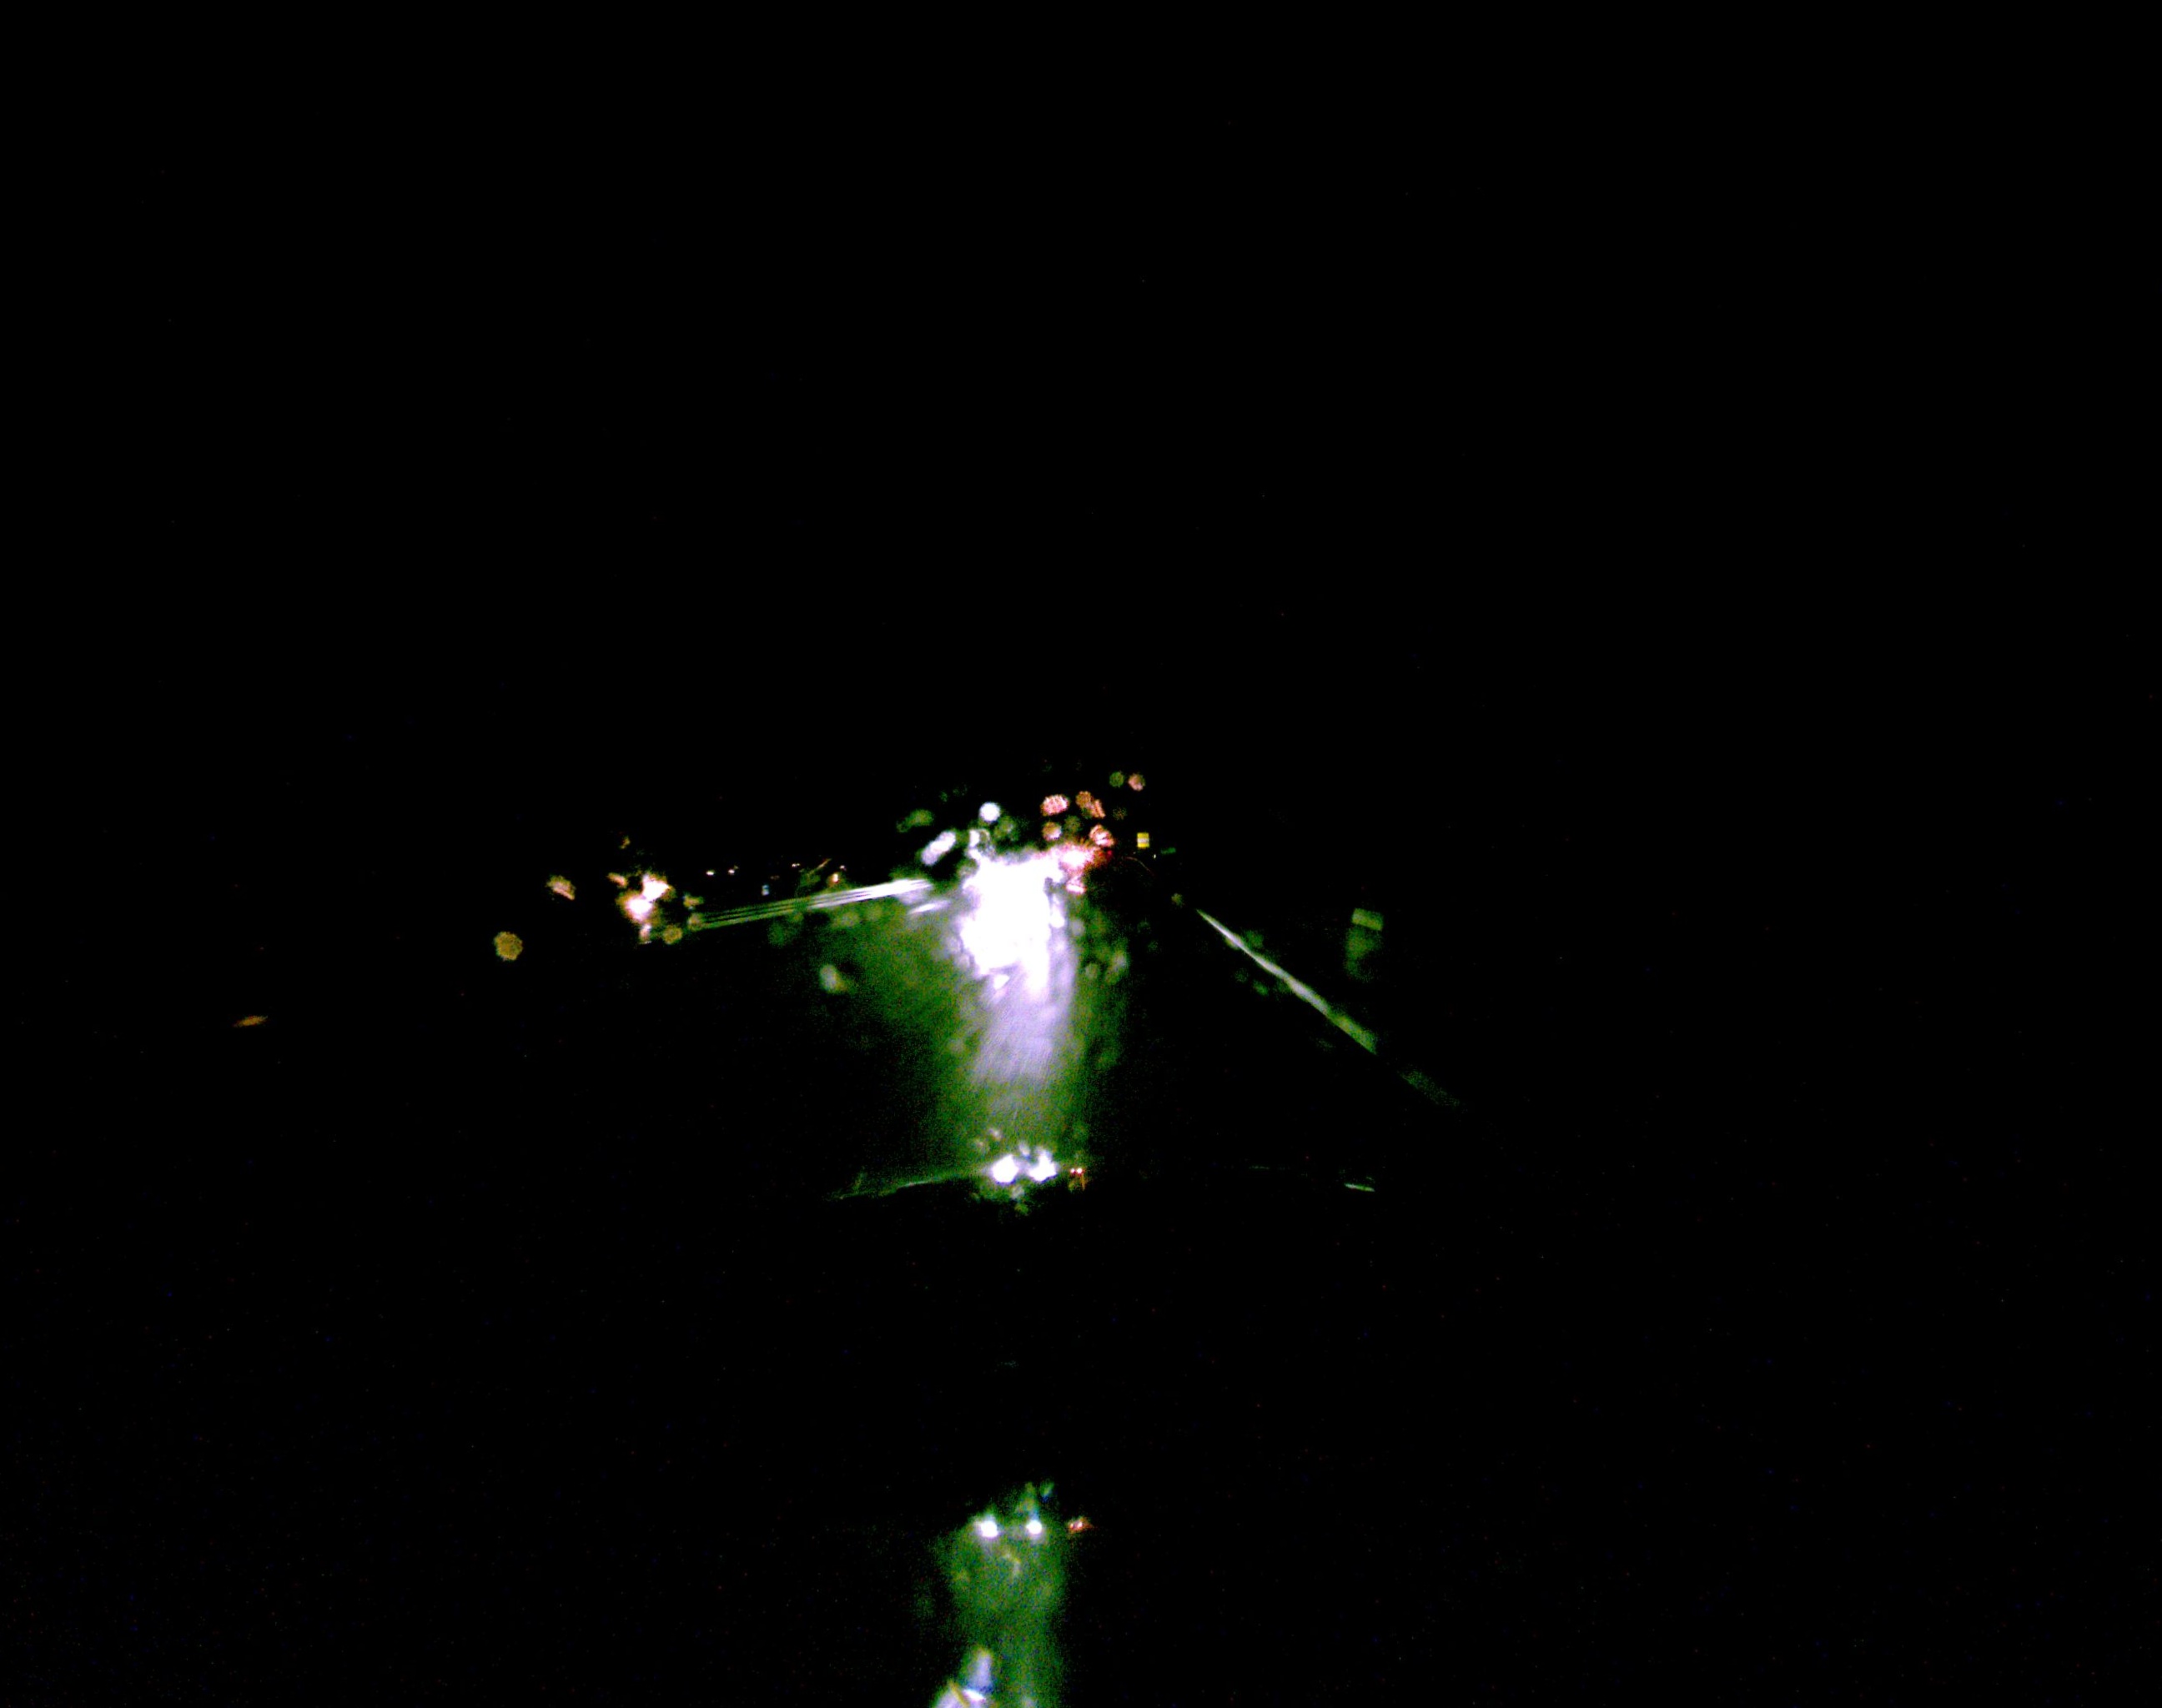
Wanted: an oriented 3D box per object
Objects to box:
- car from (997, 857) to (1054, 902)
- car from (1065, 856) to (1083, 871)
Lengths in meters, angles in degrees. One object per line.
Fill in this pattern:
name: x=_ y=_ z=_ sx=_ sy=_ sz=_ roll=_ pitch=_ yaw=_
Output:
car: x=-2.167 y=0.970 z=32.884 sx=1.773 sy=1.667 sz=4.475 roll=-1 pitch=0 yaw=3
car: x=-1.182 y=1.747 z=143.130 sx=2.742 sy=2.268 sz=6.263 roll=-7 pitch=-1 yaw=1
